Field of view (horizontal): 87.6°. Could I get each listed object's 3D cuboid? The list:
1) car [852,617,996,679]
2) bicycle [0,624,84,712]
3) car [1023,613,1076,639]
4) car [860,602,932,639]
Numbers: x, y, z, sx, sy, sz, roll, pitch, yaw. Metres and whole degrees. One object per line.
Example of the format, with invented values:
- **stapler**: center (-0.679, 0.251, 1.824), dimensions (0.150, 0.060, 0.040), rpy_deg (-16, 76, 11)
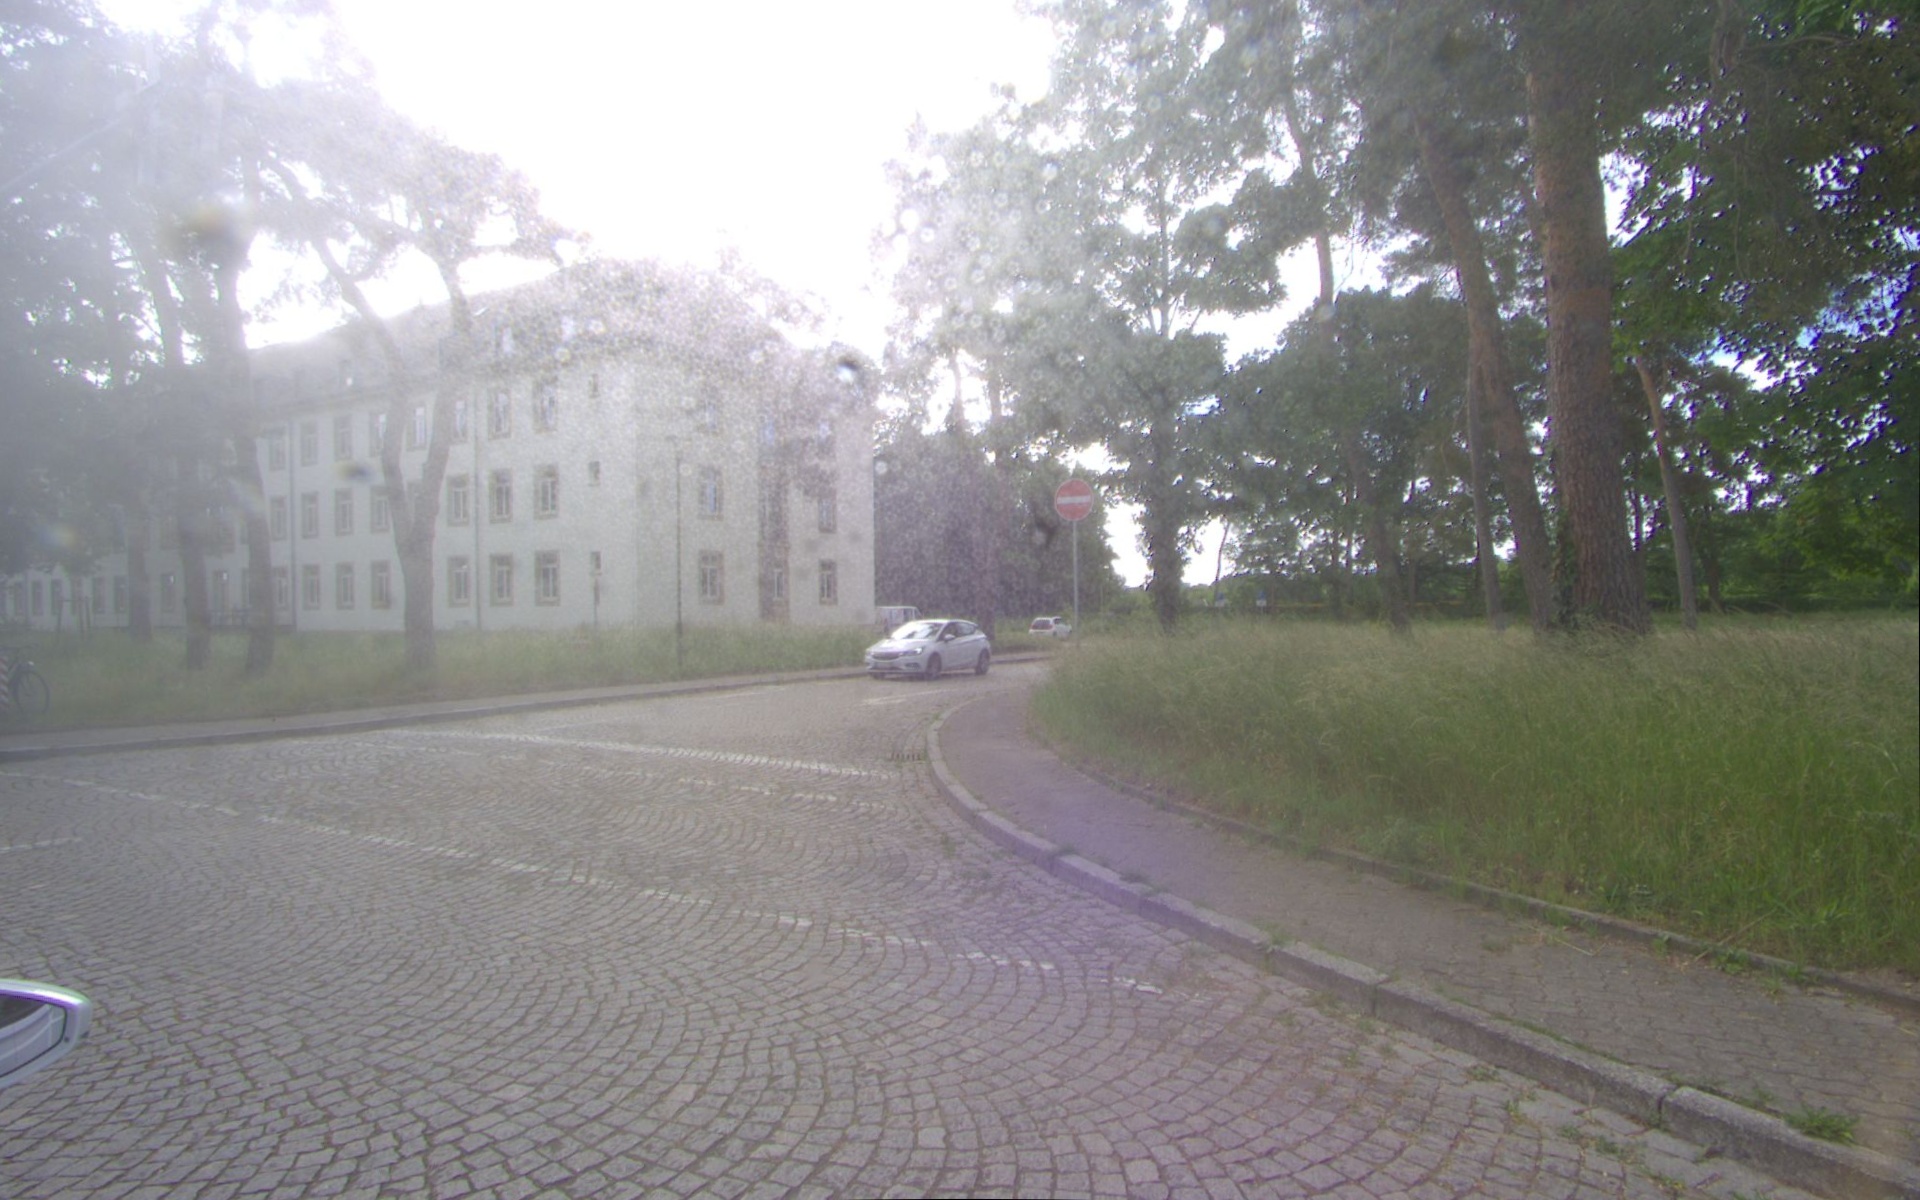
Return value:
- **car**: center (-0.817, 1.156, 25.671), dimensions (1.858, 1.434, 4.241), rpy_deg (-1, -1, 28)
- **bicycle**: center (-13.711, 0.947, 14.536), dimensions (1.845, 1.192, 0.908), rpy_deg (-1, 0, 29)
- **car**: center (5.454, 1.545, 60.839), dimensions (1.970, 1.527, 3.477), rpy_deg (-1, -1, 30)
- **car**: center (-4.151, 1.292, 65.432), dimensions (2.180, 2.318, 5.173), rpy_deg (-1, -1, 30)
